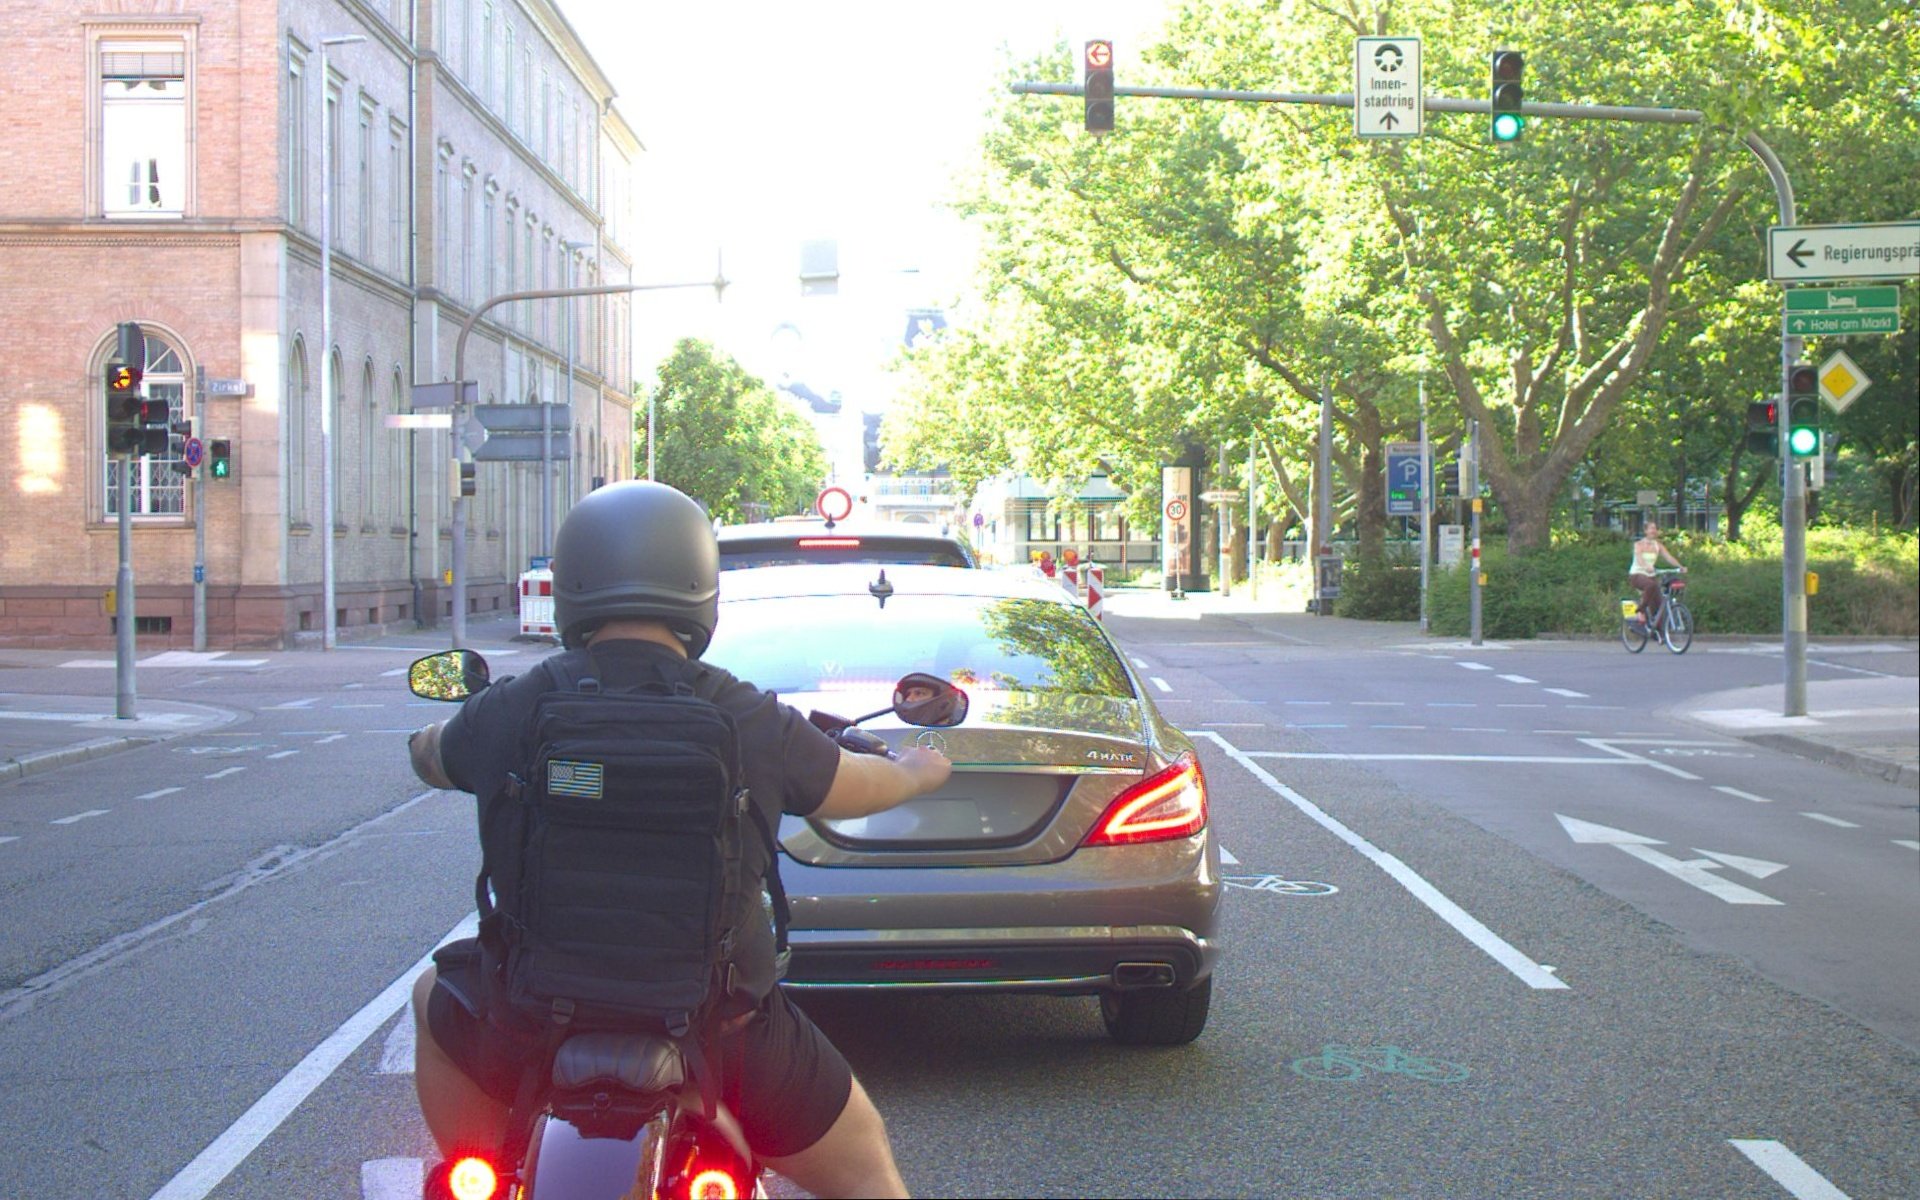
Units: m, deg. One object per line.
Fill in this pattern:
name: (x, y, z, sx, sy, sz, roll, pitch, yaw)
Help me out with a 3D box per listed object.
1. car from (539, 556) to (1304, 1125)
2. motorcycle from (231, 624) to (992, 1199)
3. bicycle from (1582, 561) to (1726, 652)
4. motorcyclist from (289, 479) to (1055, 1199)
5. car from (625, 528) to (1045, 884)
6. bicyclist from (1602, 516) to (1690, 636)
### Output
car: (-0.345, 0.589, 11.089, 1.901, 1.436, 4.290, 0, 1, -8)
motorcycle: (-0.462, 0.740, 5.548, 0.962, 1.352, 2.320, 1, 1, -1)
bicycle: (9.178, 0.074, 45.553, 0.715, 1.168, 2.176, 1, 1, -24)
motorcyclist: (-0.413, 0.622, 5.276, 1.061, 1.577, 0.908, 1, 0, -1)
car: (-0.644, 0.420, 16.779, 1.813, 1.530, 3.849, 0, 1, -3)
bicyclist: (9.119, -0.322, 45.738, 0.716, 1.577, 0.936, 1, 0, -25)
